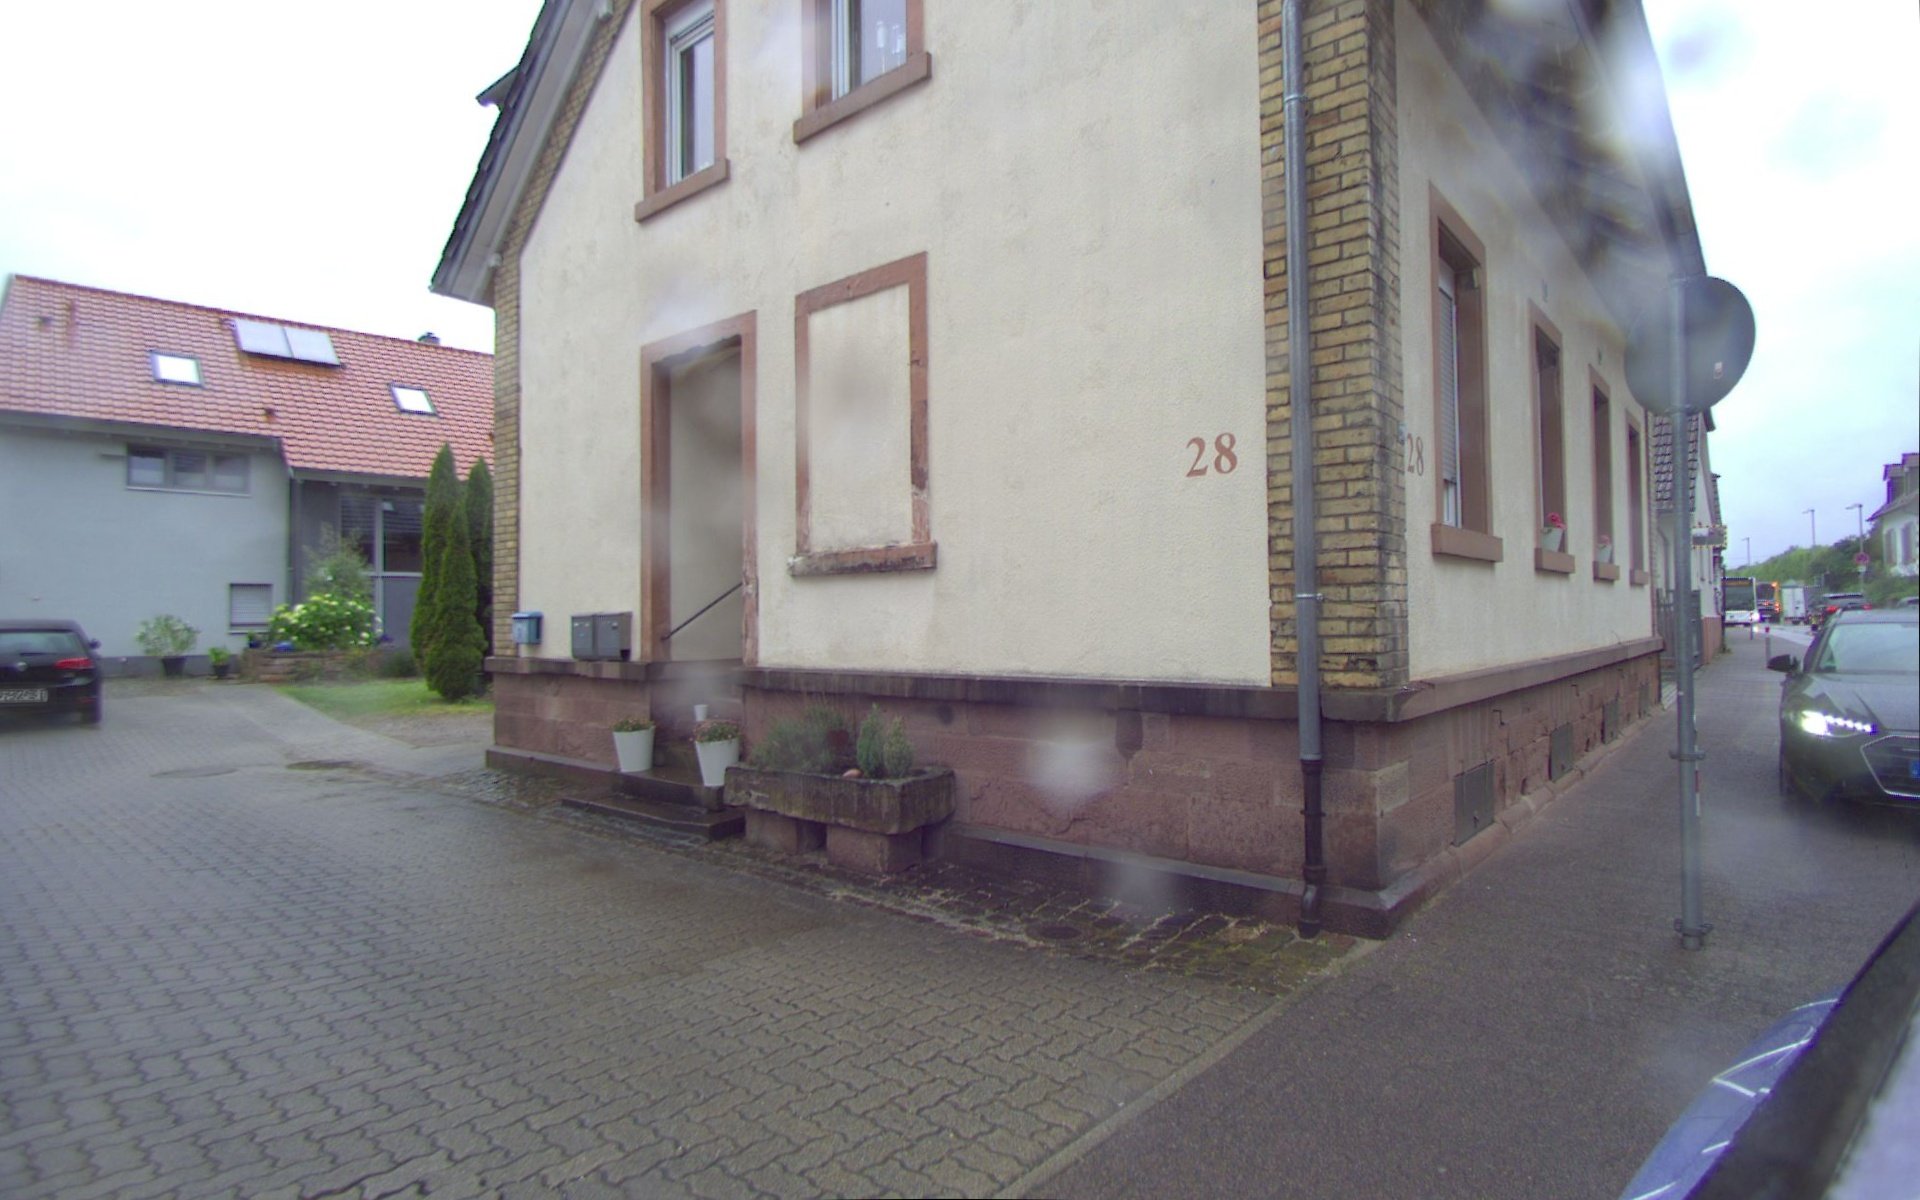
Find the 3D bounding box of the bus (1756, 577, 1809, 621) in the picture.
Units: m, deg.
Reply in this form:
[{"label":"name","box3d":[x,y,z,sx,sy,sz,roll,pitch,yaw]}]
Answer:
[{"label":"bus","box3d":[65.160,-0.144,80.376,2.654,3.273,12.033,0,0,36]}]

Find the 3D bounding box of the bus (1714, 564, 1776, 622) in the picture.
[{"label":"bus","box3d":[48.462,-0.489,62.715,2.654,3.273,12.033,0,0,36]}]

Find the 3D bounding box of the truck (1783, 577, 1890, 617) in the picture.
[{"label":"truck","box3d":[56.095,-0.203,64.775,5.535,2.536,2.003,0,0,-8]}]

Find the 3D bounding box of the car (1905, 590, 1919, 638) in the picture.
[{"label":"car","box3d":[32.856,0.412,33.793,1.620,1.531,3.737,-5,-3,41]}]

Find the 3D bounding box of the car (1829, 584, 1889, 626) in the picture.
[{"label":"car","box3d":[39.792,0.204,44.856,1.777,1.686,4.363,-3,-1,40]}]

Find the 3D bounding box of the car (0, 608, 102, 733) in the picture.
[{"label":"car","box3d":[-13.951,0.952,15.107,1.656,1.491,3.993,0,2,-42]}]

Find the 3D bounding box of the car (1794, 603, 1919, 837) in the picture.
[{"label":"car","box3d":[7.363,0.735,7.538,1.732,1.388,4.044,0,0,39]}]

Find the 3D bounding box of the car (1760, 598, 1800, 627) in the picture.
[{"label":"car","box3d":[58.831,0.860,72.658,1.987,2.039,3.949,0,0,36]}]
